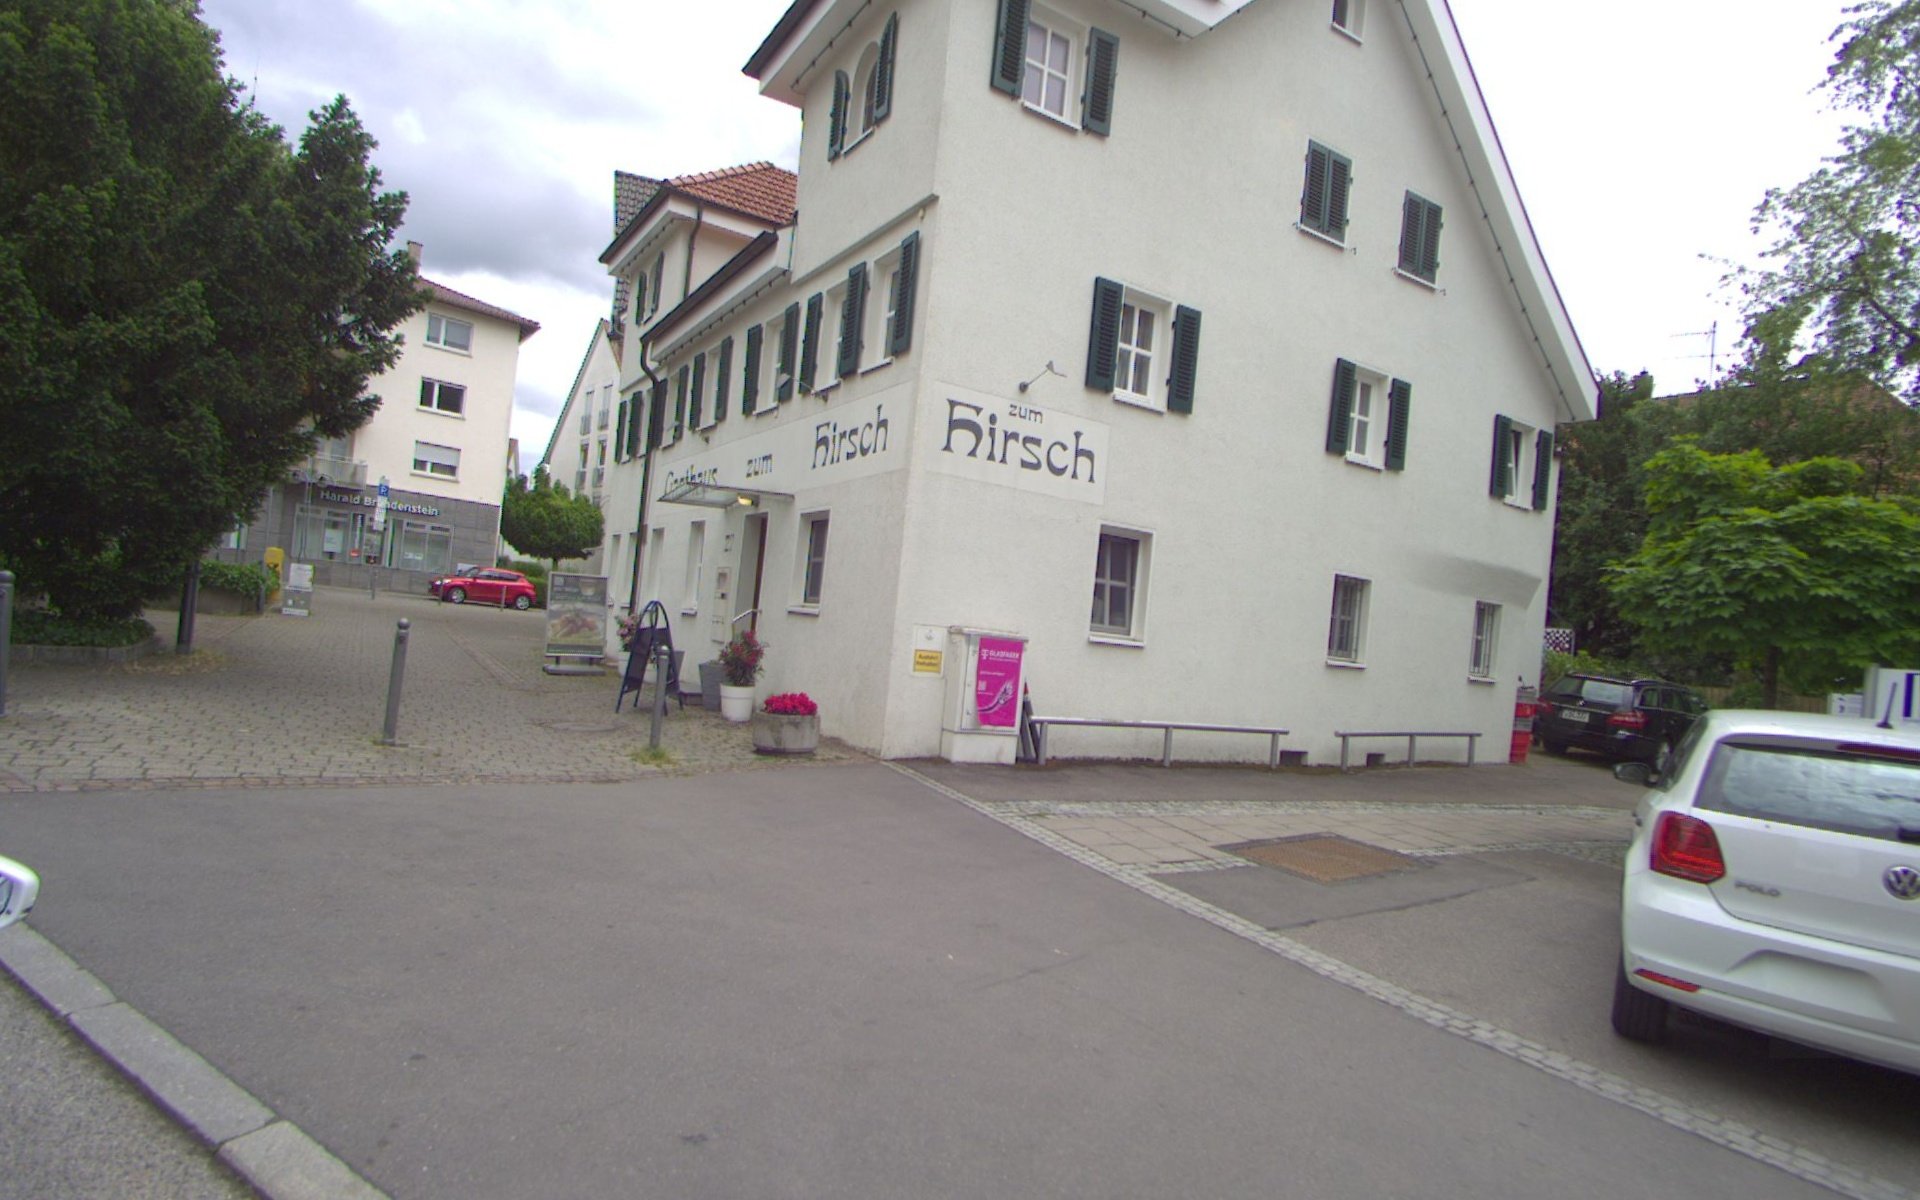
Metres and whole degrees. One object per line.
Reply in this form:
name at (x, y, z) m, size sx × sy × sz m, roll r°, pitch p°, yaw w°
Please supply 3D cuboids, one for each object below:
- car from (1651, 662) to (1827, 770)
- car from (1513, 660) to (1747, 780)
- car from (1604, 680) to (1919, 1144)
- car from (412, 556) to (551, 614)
car at (16.731, 2.503, 21.547) m, size 3.968 × 1.923 × 1.979 m, roll 7°, pitch -1°, yaw -39°
car at (11.692, 2.086, 17.509) m, size 3.961 × 1.575 × 1.894 m, roll 6°, pitch 3°, yaw -35°
car at (4.327, 1.246, 4.895) m, size 1.867 × 1.435 × 3.795 m, roll 6°, pitch -1°, yaw 33°
car at (-18.695, -0.569, 39.427) m, size 2.096 × 1.564 × 4.363 m, roll 6°, pitch -3°, yaw 44°
